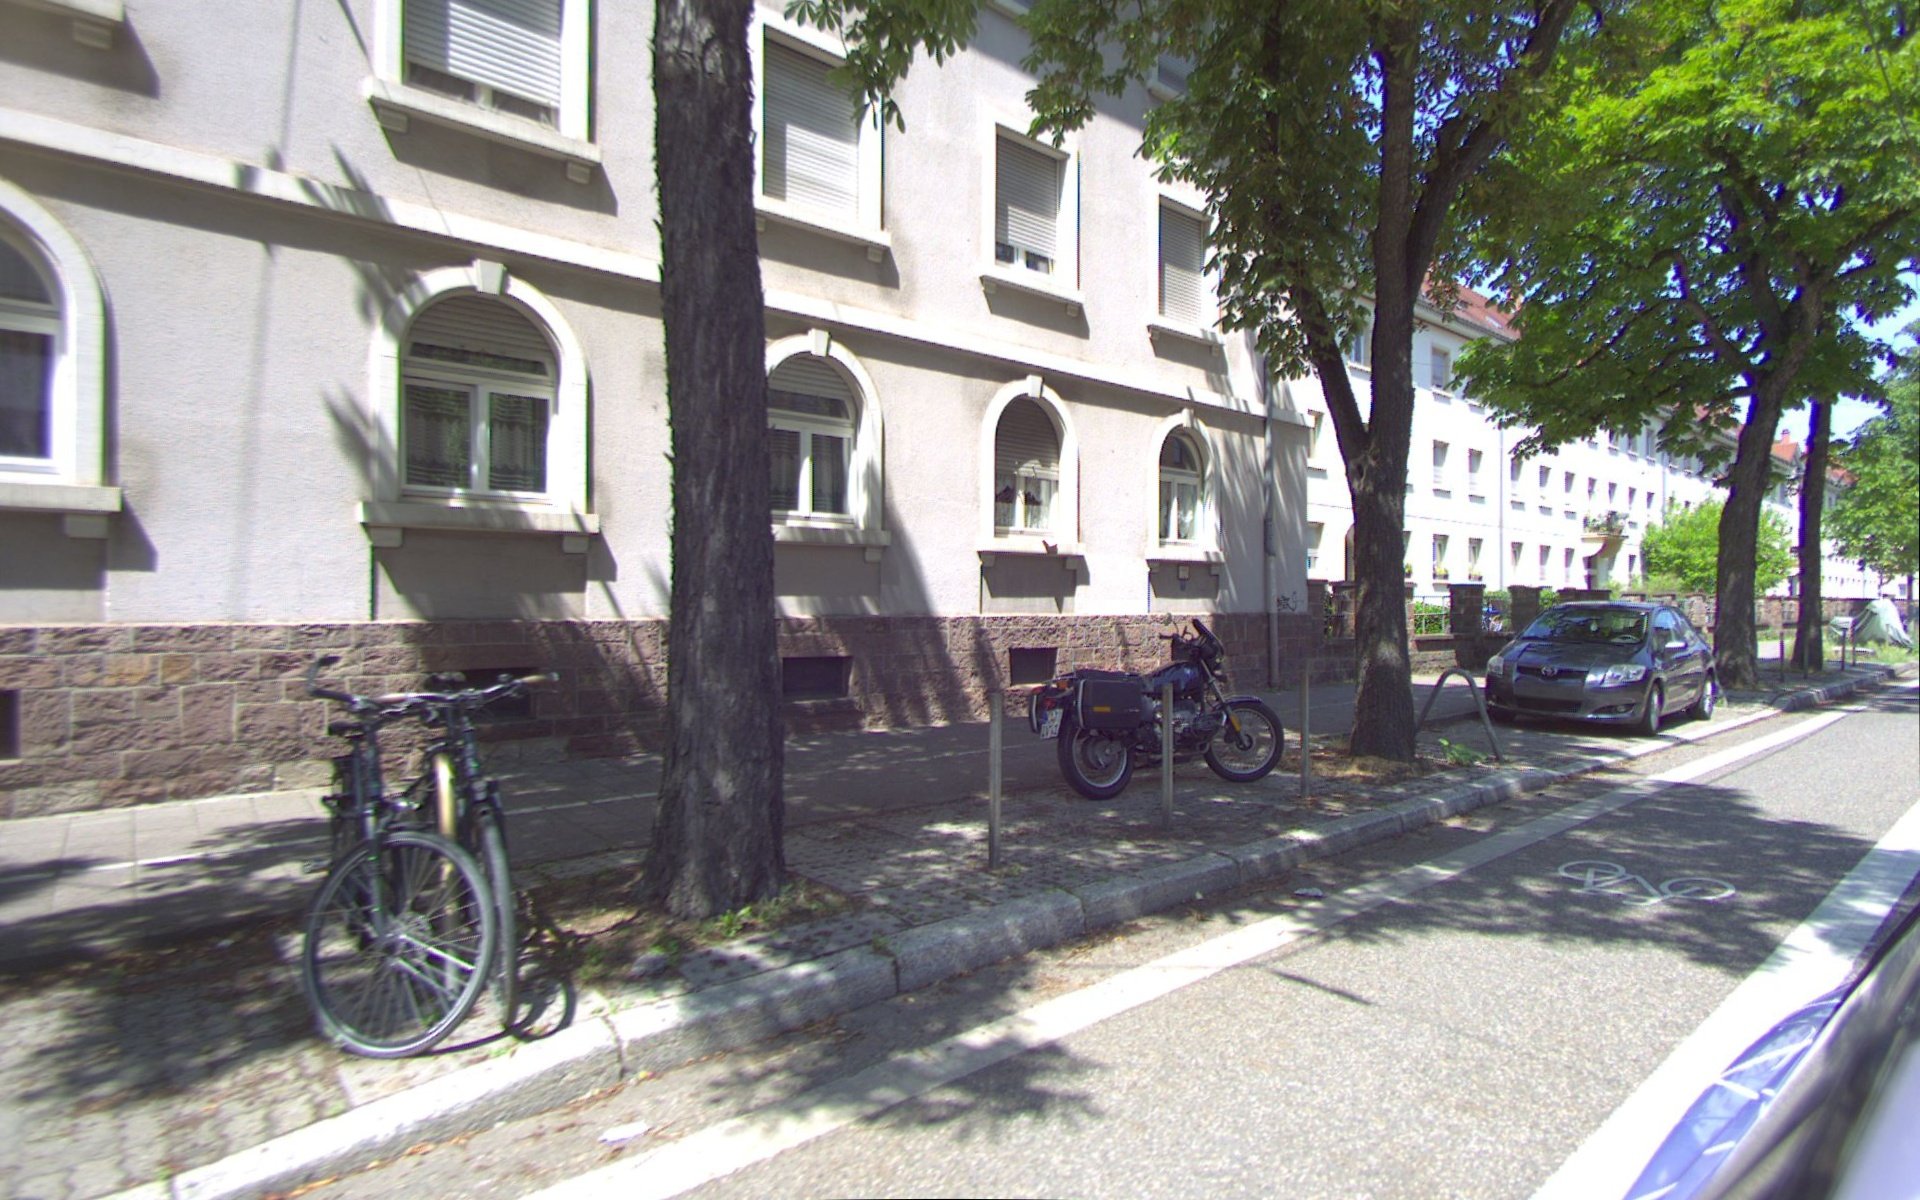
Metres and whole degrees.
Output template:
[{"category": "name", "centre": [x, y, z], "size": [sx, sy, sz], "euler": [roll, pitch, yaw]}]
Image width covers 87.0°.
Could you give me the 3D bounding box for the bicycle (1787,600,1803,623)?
[{"category": "bicycle", "centre": [41.406, 0.553, 50.198], "size": [0.478, 1.092, 1.894], "euler": [-1, 0, 43]}]

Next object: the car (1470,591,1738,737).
[{"category": "car", "centre": [8.246, 0.678, 12.801], "size": [4.231, 1.520, 1.777], "euler": [0, 1, -42]}]

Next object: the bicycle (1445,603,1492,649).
[{"category": "bicycle", "centre": [12.343, 0.613, 24.552], "size": [1.537, 1.069, 0.460], "euler": [0, 0, -41]}]

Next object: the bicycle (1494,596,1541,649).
[{"category": "bicycle", "centre": [13.085, 0.504, 23.745], "size": [1.537, 1.206, 0.460], "euler": [0, 0, -41]}]

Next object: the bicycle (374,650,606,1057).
[{"category": "bicycle", "centre": [-1.853, 0.770, 3.833], "size": [0.528, 1.065, 1.896], "euler": [0, 0, -33]}]

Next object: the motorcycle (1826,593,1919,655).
[{"category": "motorcycle", "centre": [24.383, 0.620, 26.840], "size": [0.853, 1.560, 2.319], "euler": [0, -1, 2]}]

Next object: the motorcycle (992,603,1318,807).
[{"category": "motorcycle", "centre": [1.494, 0.690, 7.622], "size": [2.331, 1.316, 1.001], "euler": [0, 0, -30]}]

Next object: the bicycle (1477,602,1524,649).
[{"category": "bicycle", "centre": [12.839, 0.586, 24.032], "size": [1.537, 1.069, 0.460], "euler": [0, 0, -41]}]

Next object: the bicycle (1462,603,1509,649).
[{"category": "bicycle", "centre": [12.598, 0.598, 24.264], "size": [1.537, 1.069, 0.460], "euler": [0, 0, -41]}]

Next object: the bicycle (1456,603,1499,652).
[{"category": "bicycle", "centre": [11.725, 0.604, 22.913], "size": [0.459, 1.069, 1.540], "euler": [0, 0, 42]}]

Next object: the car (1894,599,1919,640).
[{"category": "car", "centre": [35.720, 0.698, 37.158], "size": [4.780, 1.445, 1.771], "euler": [0, 0, -43]}]

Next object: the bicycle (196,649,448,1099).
[{"category": "bicycle", "centre": [-2.292, 0.766, 3.641], "size": [0.587, 1.076, 1.970], "euler": [0, 0, -33]}]
